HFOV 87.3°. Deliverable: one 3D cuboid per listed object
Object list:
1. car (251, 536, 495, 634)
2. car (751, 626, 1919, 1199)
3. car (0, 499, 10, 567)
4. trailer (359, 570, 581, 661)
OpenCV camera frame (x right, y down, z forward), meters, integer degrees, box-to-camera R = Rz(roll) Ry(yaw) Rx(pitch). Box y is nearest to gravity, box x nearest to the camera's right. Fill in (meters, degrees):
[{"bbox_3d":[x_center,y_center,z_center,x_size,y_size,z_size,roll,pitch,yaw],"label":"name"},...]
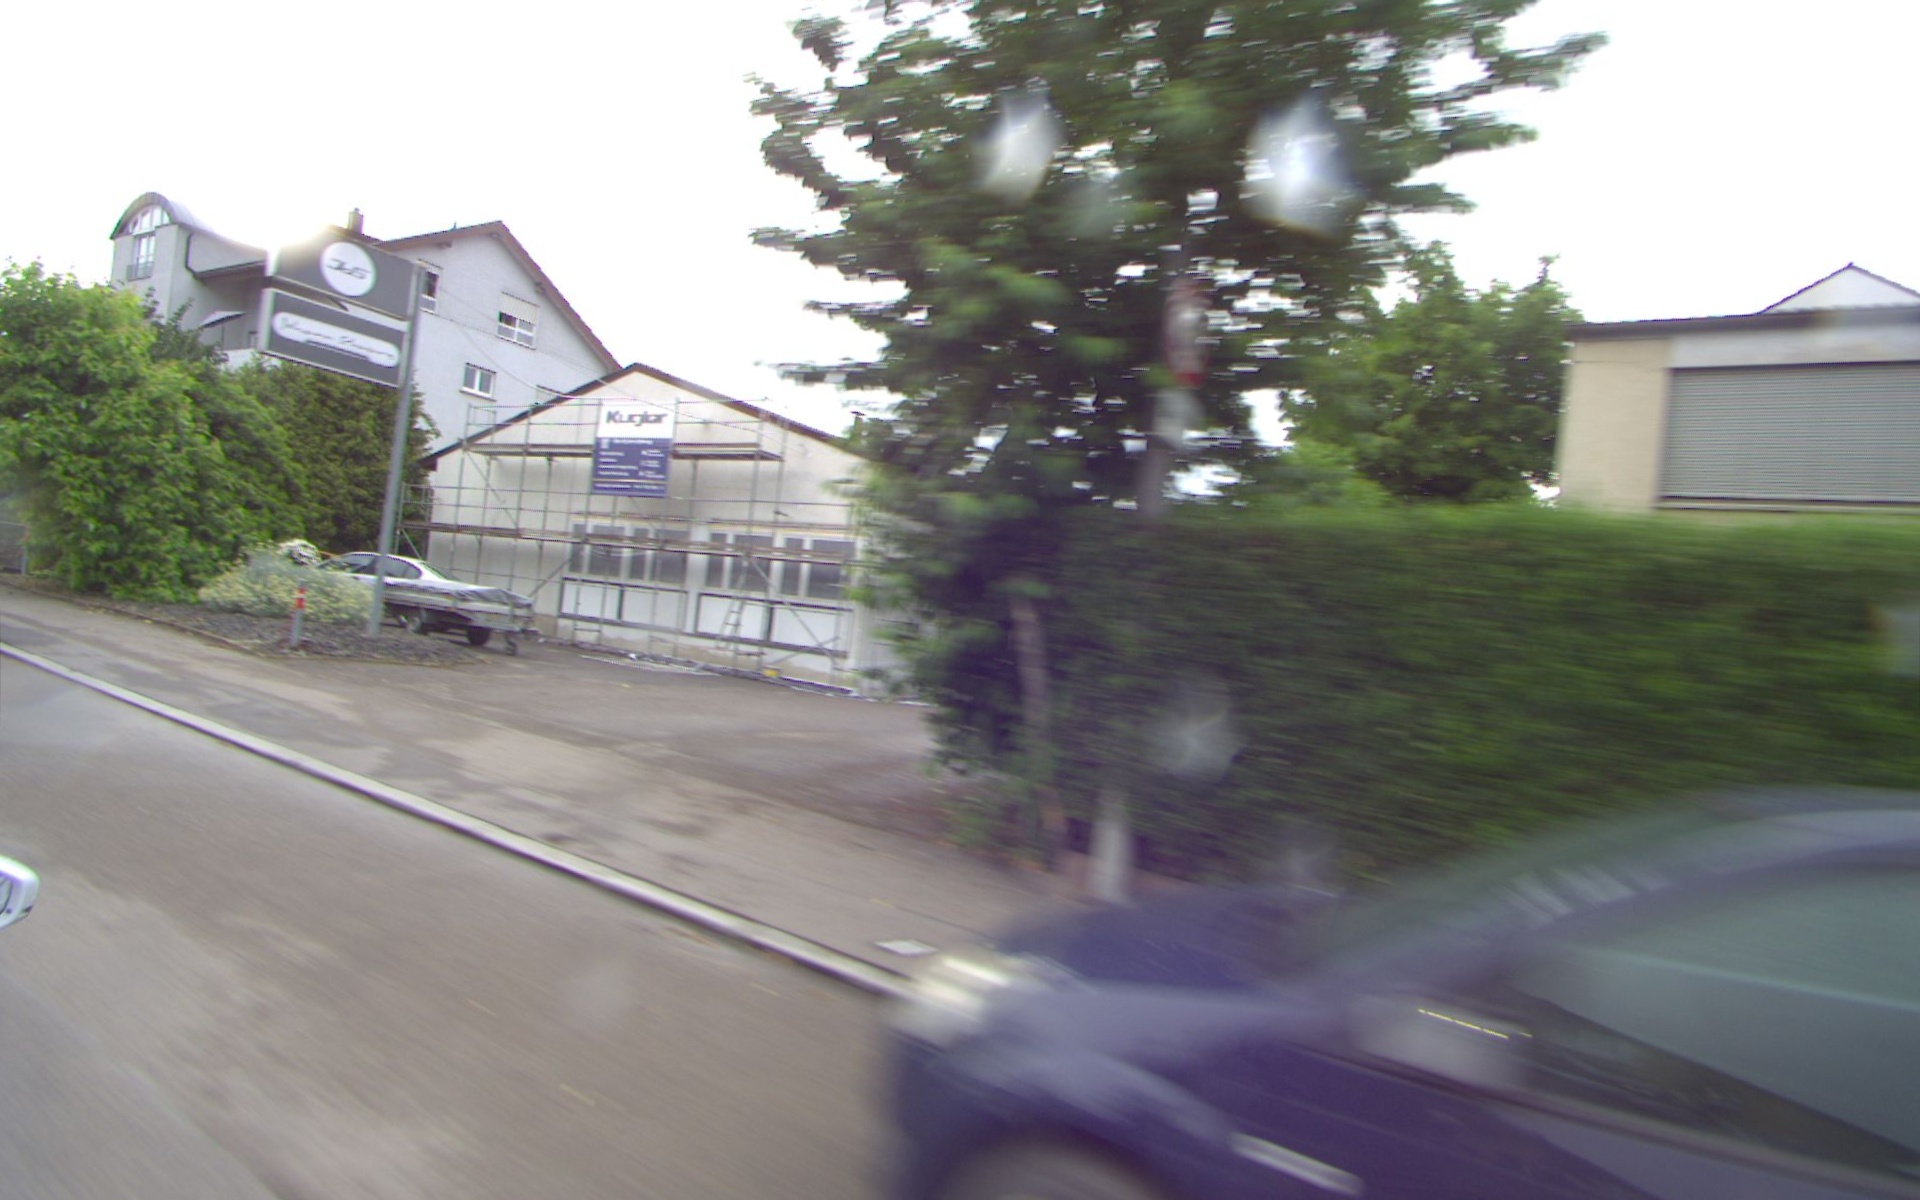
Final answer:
[{"bbox_3d":[-11.864,-0.274,20.580,3.892,1.416,1.537,8,-1,-13],"label":"car"},{"bbox_3d":[1.579,1.050,1.846,3.743,1.454,1.491,7,-3,31],"label":"car"},{"bbox_3d":[-11.675,-0.554,10.123,4.449,1.454,1.716,6,-3,29],"label":"car"},{"bbox_3d":[-8.514,0.257,17.404,3.842,1.071,1.542,6,-2,32],"label":"trailer"}]
